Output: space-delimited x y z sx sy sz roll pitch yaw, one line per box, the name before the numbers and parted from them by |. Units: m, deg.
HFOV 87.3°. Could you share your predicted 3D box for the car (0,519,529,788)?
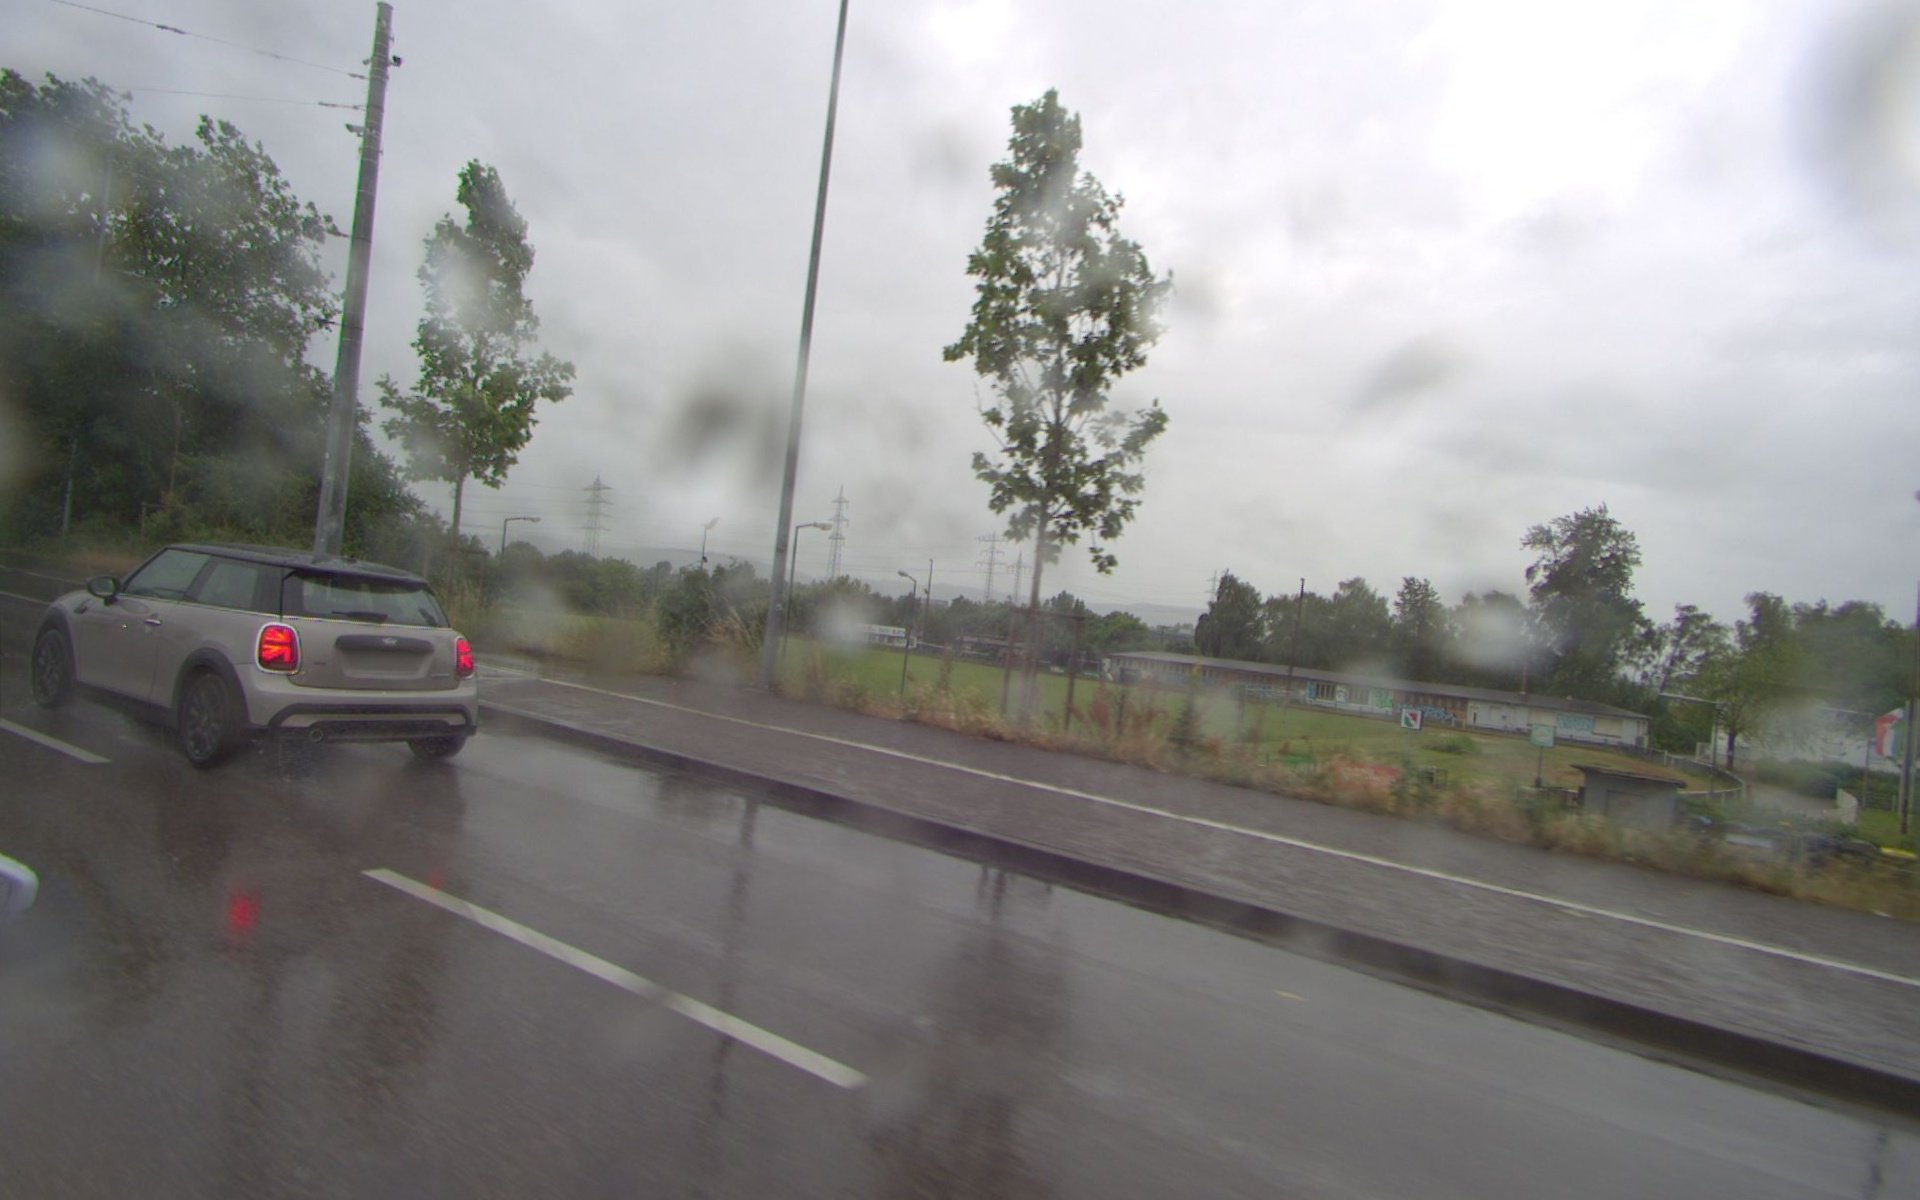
car | -5.361 0.323 7.634 3.788 1.430 1.795 5 -2 29
